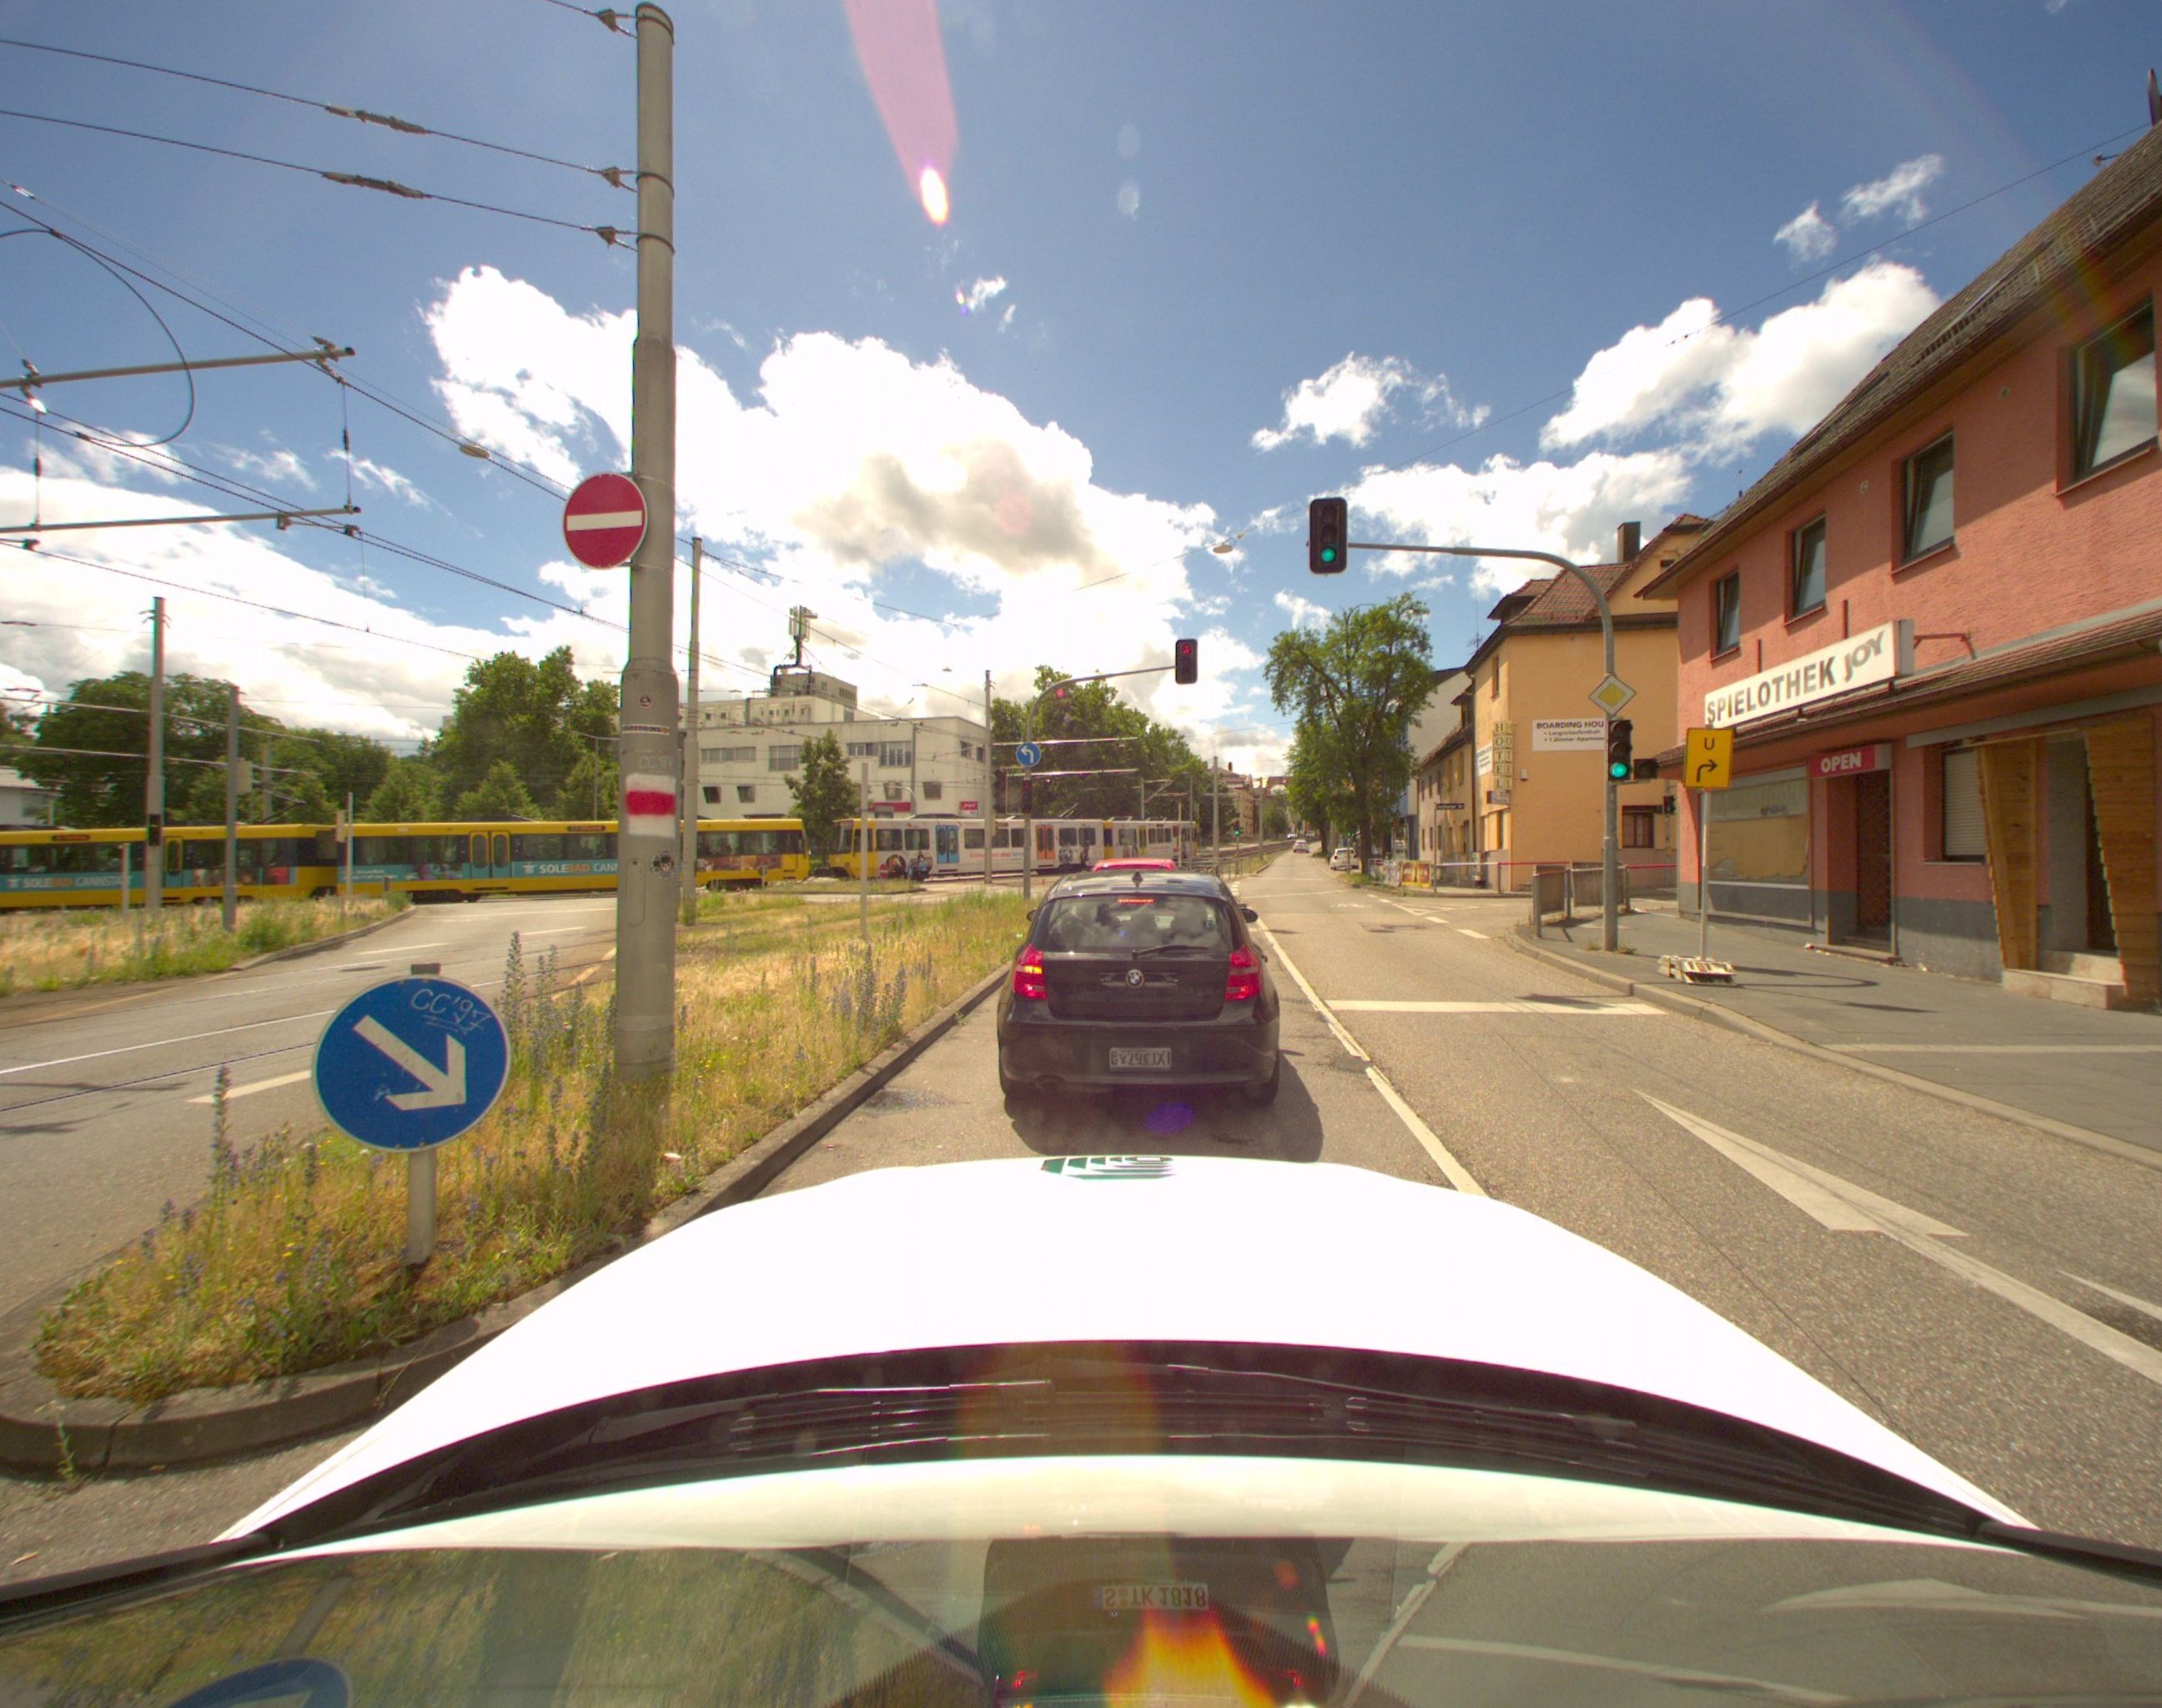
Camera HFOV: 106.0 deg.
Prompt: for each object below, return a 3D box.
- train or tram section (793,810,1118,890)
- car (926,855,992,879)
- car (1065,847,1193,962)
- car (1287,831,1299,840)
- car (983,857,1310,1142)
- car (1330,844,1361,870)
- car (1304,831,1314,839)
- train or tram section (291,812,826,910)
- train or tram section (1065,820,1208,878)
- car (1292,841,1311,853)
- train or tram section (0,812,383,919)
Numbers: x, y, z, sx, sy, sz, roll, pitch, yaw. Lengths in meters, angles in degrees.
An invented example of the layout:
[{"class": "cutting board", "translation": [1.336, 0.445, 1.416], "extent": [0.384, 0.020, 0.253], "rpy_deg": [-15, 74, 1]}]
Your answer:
[{"class": "train or tram section", "translation": [-6.218, -0.233, 48.204], "extent": [20.756, 3.879, 3.714], "rpy_deg": [-1, -1, -45]}, {"class": "car", "translation": [-8.474, 0.883, 56.908], "extent": [4.191, 1.585, 1.837], "rpy_deg": [-1, -1, -41]}, {"class": "car", "translation": [0.903, 0.693, 12.731], "extent": [1.616, 1.473, 4.009], "rpy_deg": [-2, -1, 8]}, {"class": "car", "translation": [48.666, -4.251, 186.908], "extent": [1.976, 2.014, 4.022], "rpy_deg": [-2, -1, 23]}, {"class": "car", "translation": [0.340, 0.796, 6.314], "extent": [1.696, 1.452, 3.999], "rpy_deg": [-2, -1, 0]}, {"class": "car", "translation": [18.022, 0.217, 55.565], "extent": [1.774, 1.596, 4.016], "rpy_deg": [-2, -1, 15]}, {"class": "car", "translation": [57.704, -4.792, 206.012], "extent": [1.976, 2.014, 4.022], "rpy_deg": [-2, -1, 23]}, {"class": "train or tram section", "translation": [-22.491, 0.114, 37.697], "extent": [20.166, 3.829, 3.733], "rpy_deg": [-1, -1, -23]}, {"class": "train or tram section", "translation": [5.085, -0.309, 64.122], "extent": [3.714, 3.814, 20.169], "rpy_deg": [-2, -1, 26]}, {"class": "car", "translation": [27.475, -0.913, 101.339], "extent": [1.799, 1.468, 4.021], "rpy_deg": [-1, 0, 22]}, {"class": "train or tram section", "translation": [-40.410, 0.582, 34.104], "extent": [18.779, 3.919, 3.760], "rpy_deg": [-2, -1, -1]}]
